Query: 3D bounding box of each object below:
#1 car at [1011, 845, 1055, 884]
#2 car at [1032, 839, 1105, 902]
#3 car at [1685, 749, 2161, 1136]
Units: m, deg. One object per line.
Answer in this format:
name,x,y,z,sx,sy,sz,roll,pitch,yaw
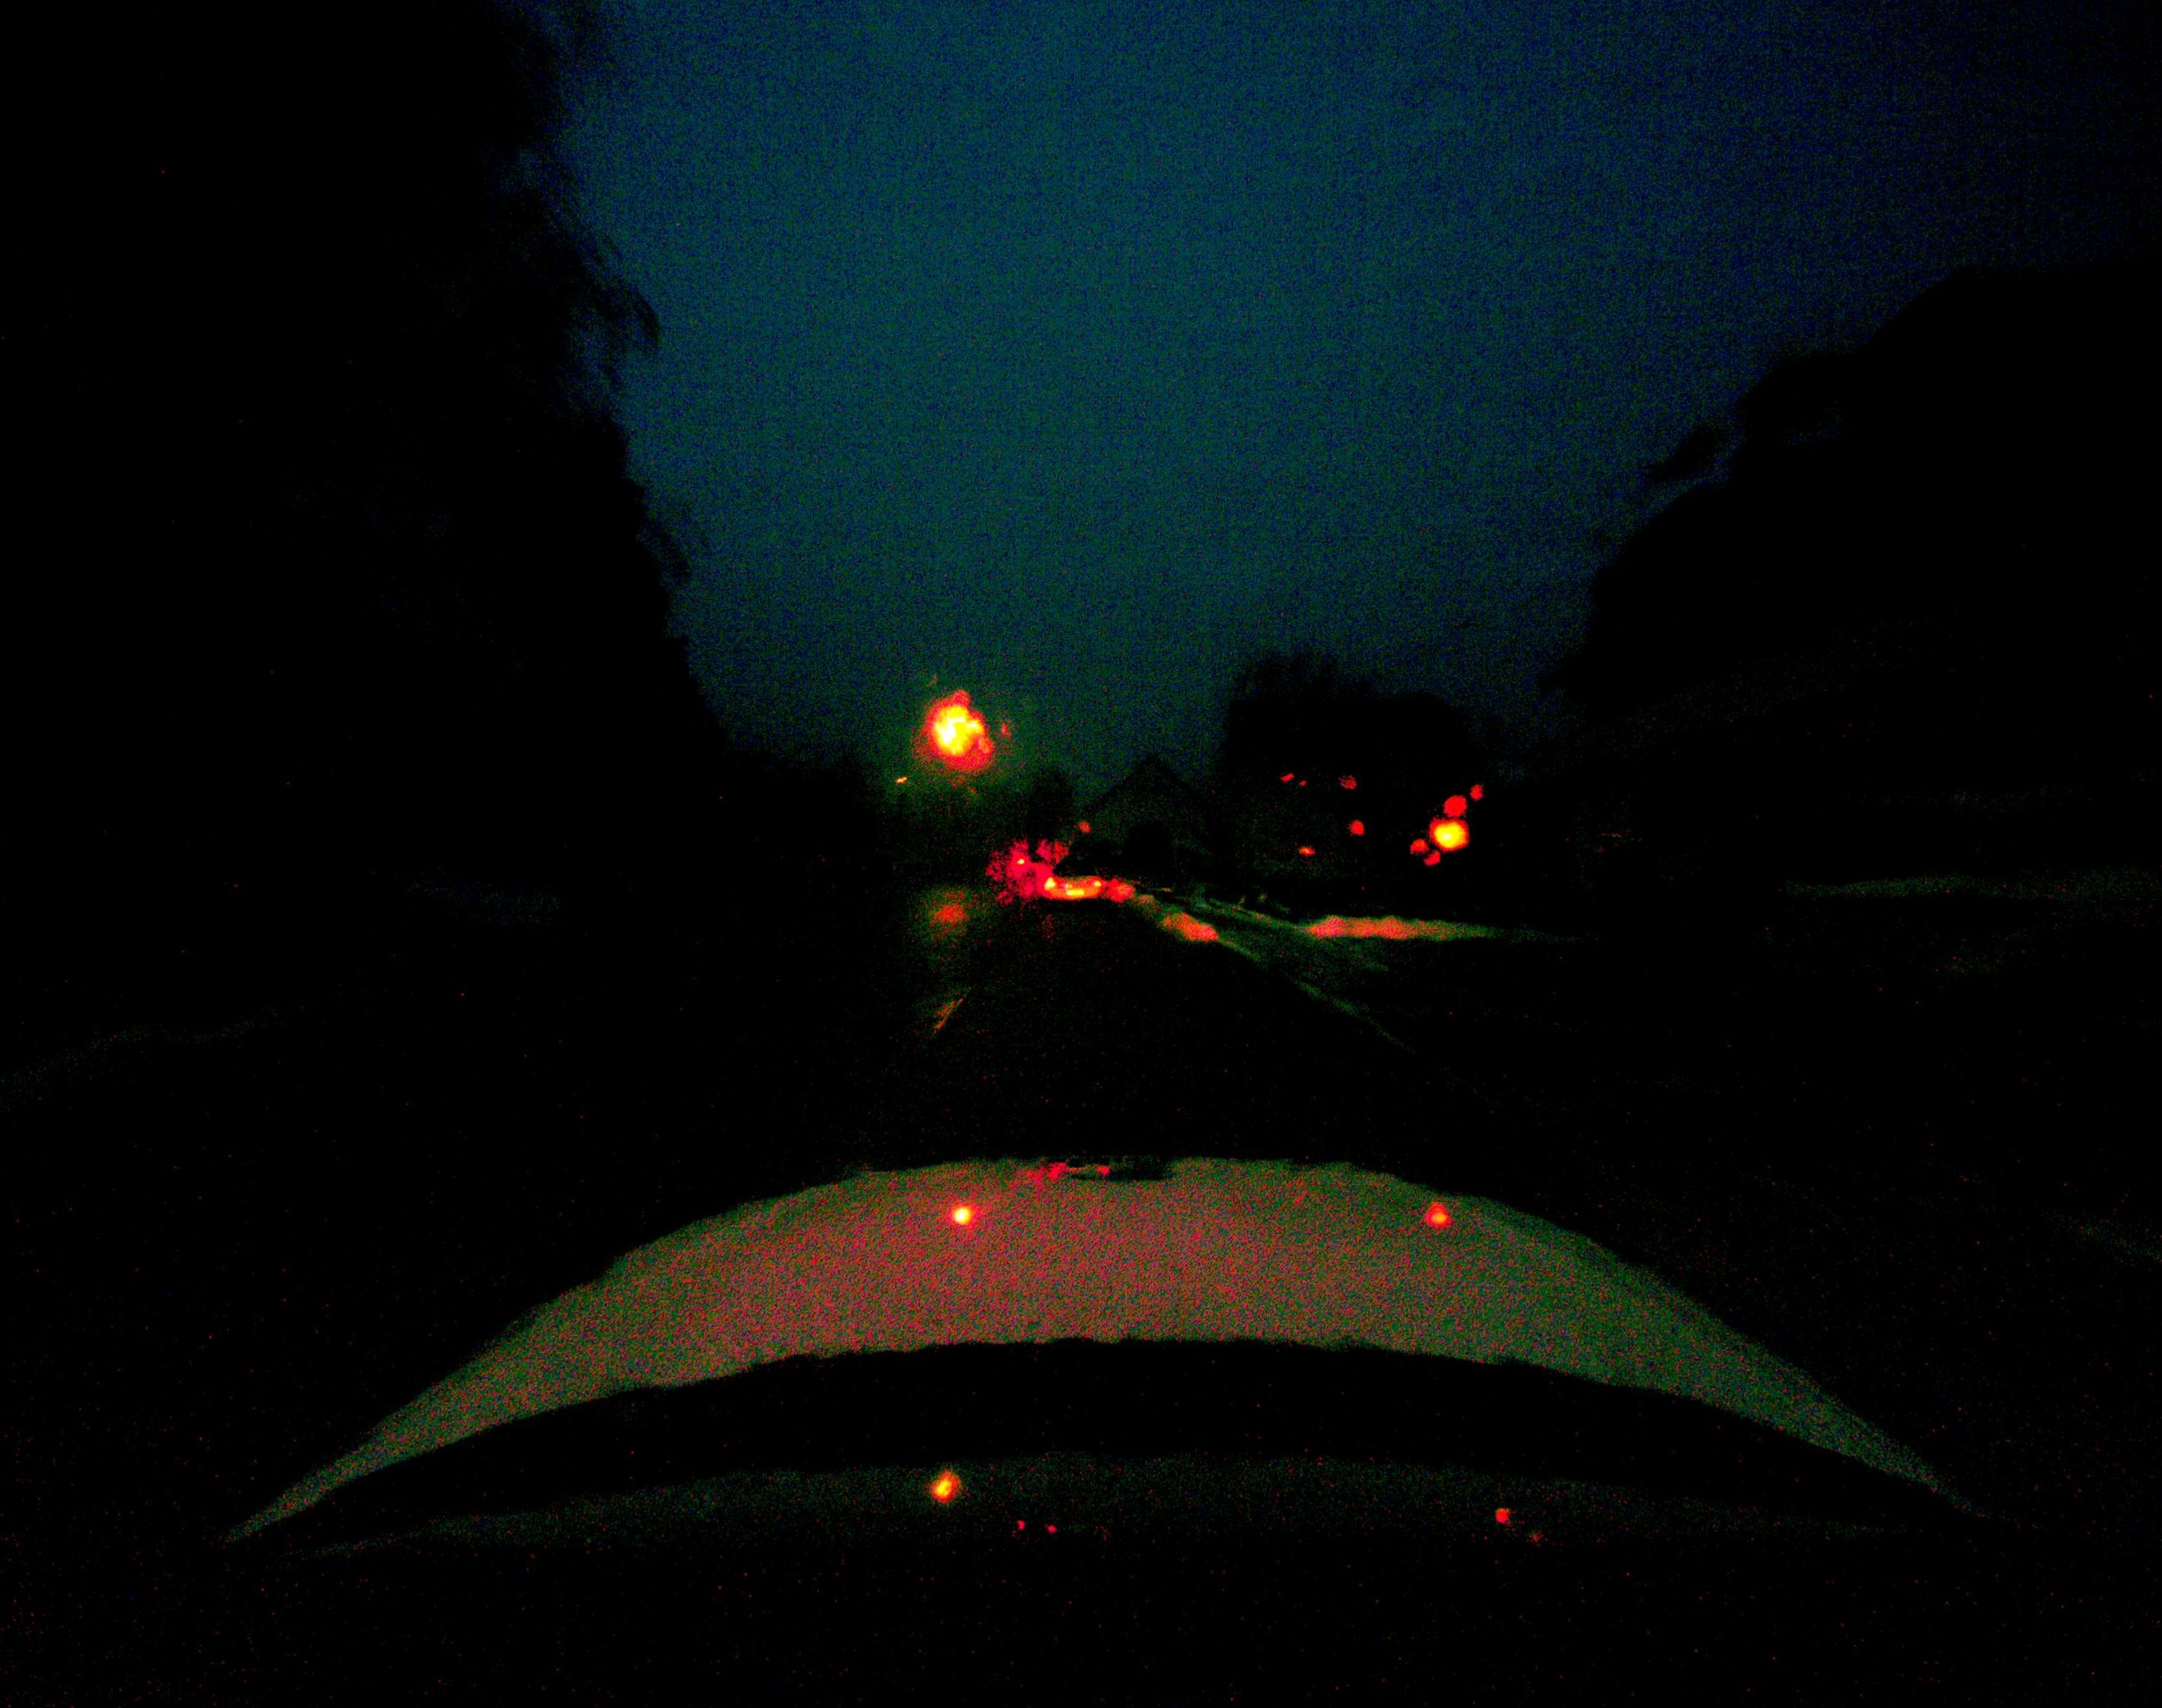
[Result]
car,-2.301,0.486,38.423,1.990,1.737,3.872,-1,-1,-5
car,-0.367,0.460,23.183,1.892,1.609,3.997,-1,-1,-1
car,6.362,0.421,4.716,4.181,1.858,1.916,-1,-1,8
